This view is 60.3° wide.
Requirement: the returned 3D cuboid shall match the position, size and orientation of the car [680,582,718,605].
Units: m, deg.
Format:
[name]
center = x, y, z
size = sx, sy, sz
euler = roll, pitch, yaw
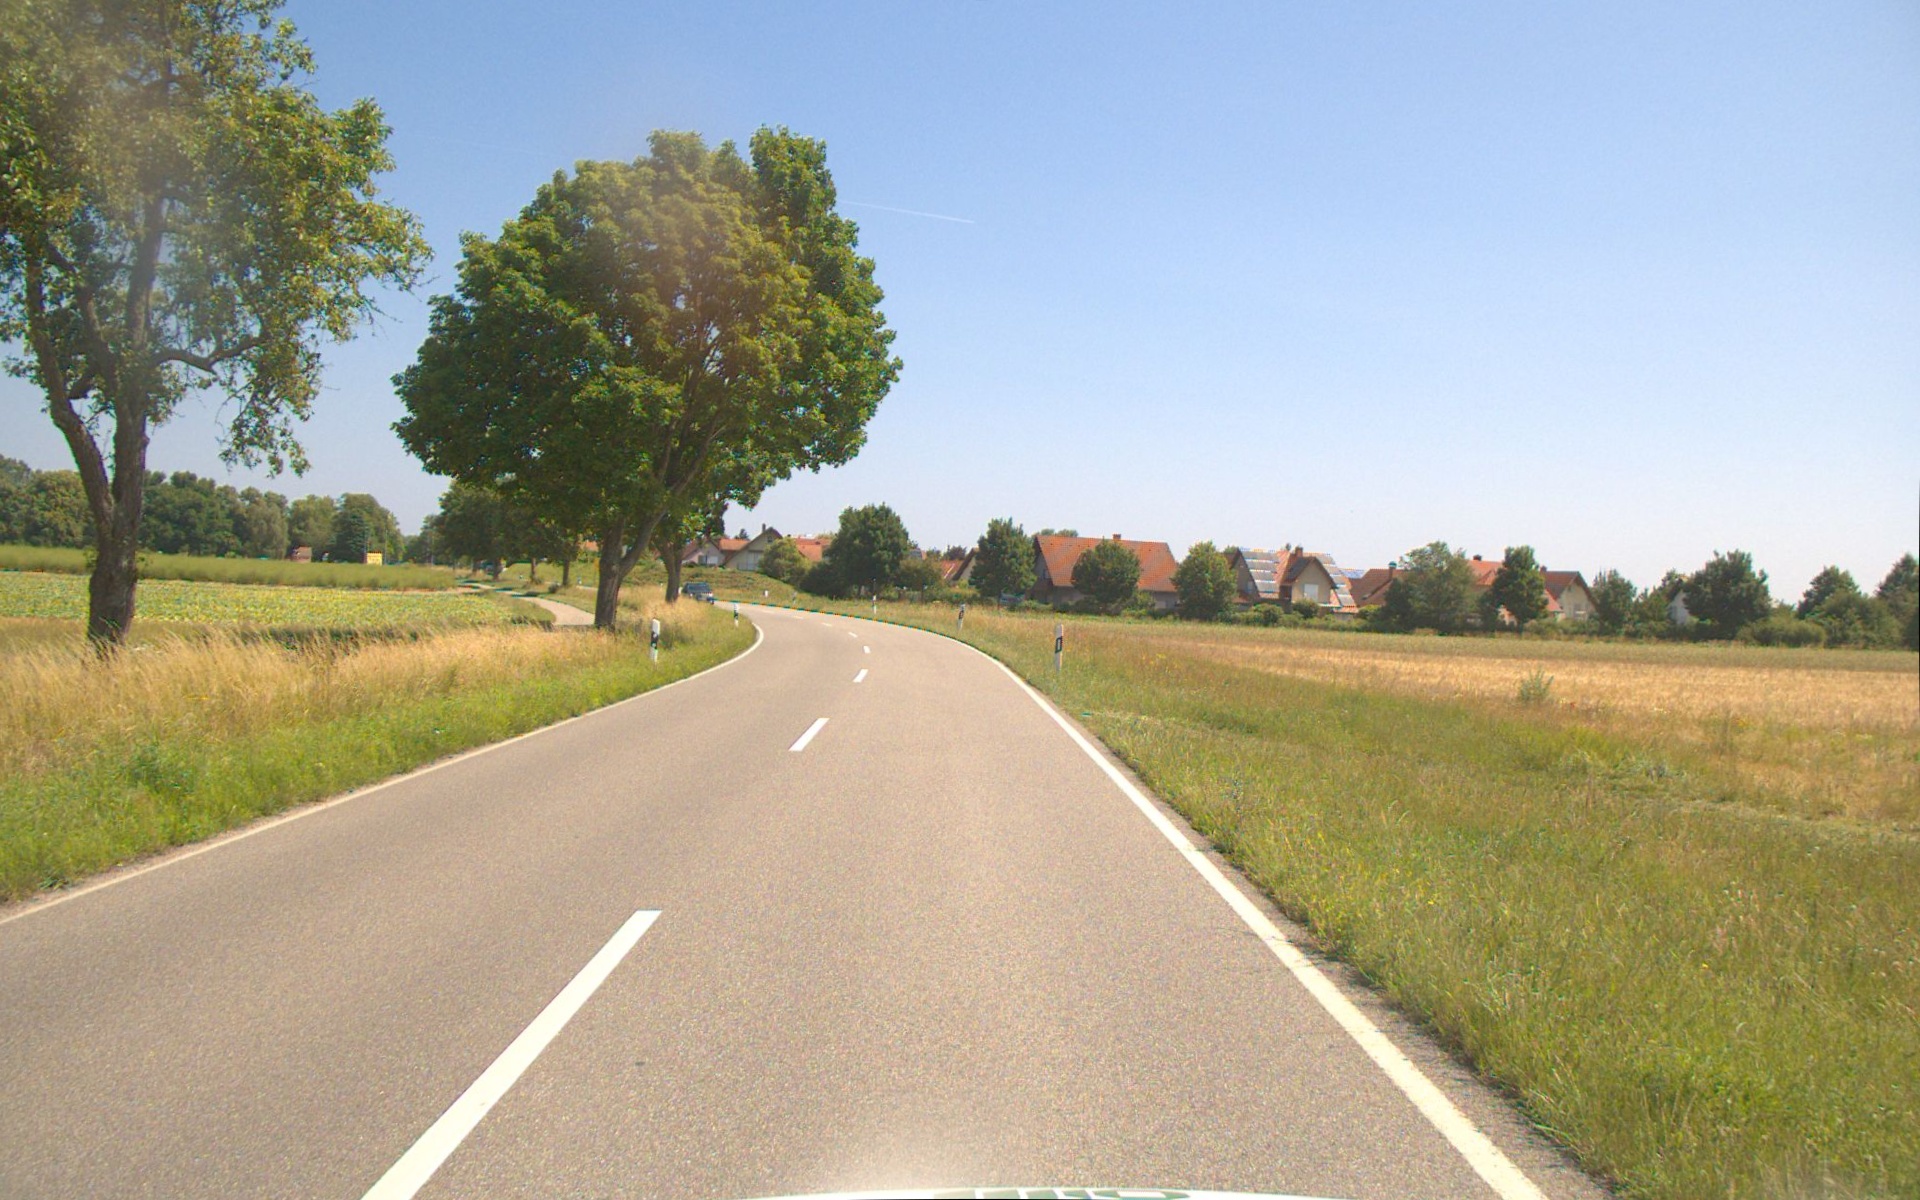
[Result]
[car]
center = -16.767, -0.412, 106.130
size = 1.620, 1.454, 4.155
euler = -1, 1, -20
